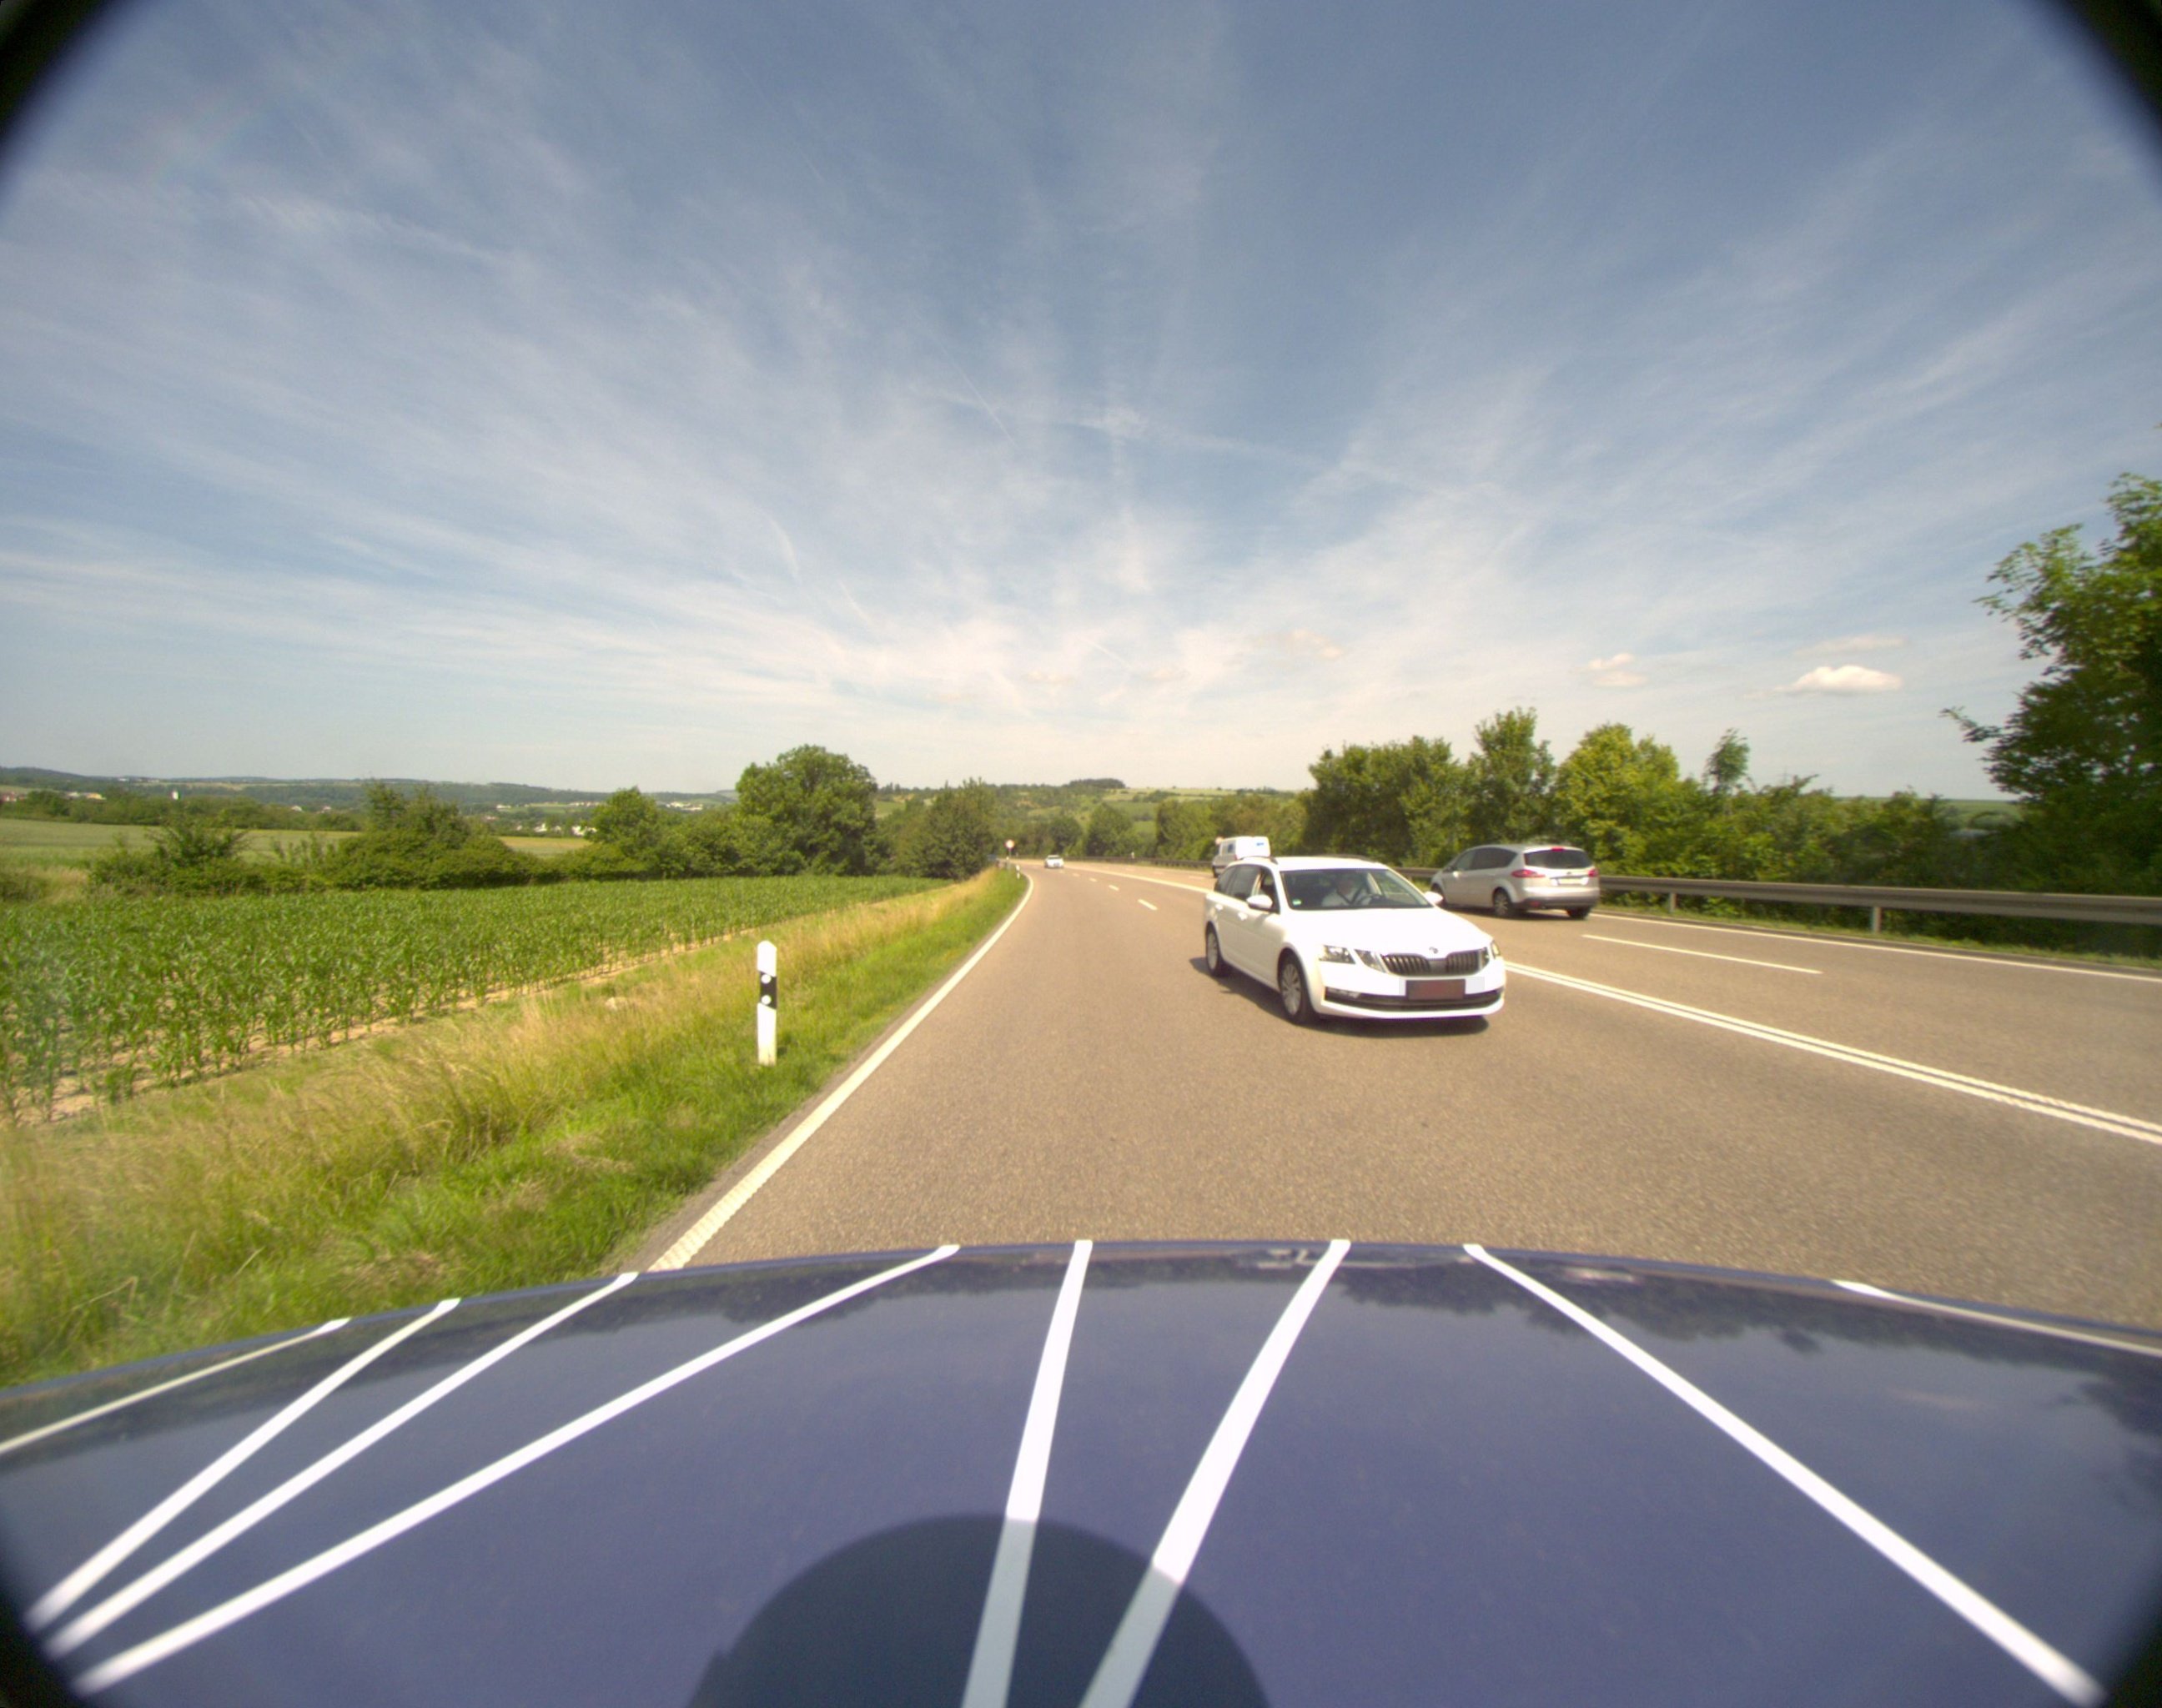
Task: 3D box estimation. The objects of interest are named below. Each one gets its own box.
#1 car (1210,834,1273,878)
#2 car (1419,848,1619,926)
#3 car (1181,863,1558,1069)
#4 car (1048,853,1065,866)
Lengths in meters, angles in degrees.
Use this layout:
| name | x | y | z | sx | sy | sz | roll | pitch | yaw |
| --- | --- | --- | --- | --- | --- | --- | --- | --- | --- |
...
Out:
| name | x | y | z | sx | sy | sz | roll | pitch | yaw |
| --- | --- | --- | --- | --- | --- | --- | --- | --- | --- |
| car | 9.213 | 0.109 | 44.191 | 2.094 | 2.381 | 5.842 | -1 | 0 | -4 |
| car | 9.871 | 0.644 | 17.642 | 1.818 | 1.559 | 4.682 | 0 | 0 | -2 |
| car | 2.537 | 0.871 | 8.170 | 1.826 | 1.463 | 4.786 | -1 | 0 | -6 |
| car | -2.814 | 0.591 | 87.008 | 1.708 | 1.368 | 4.601 | -1 | 0 | -5 |
